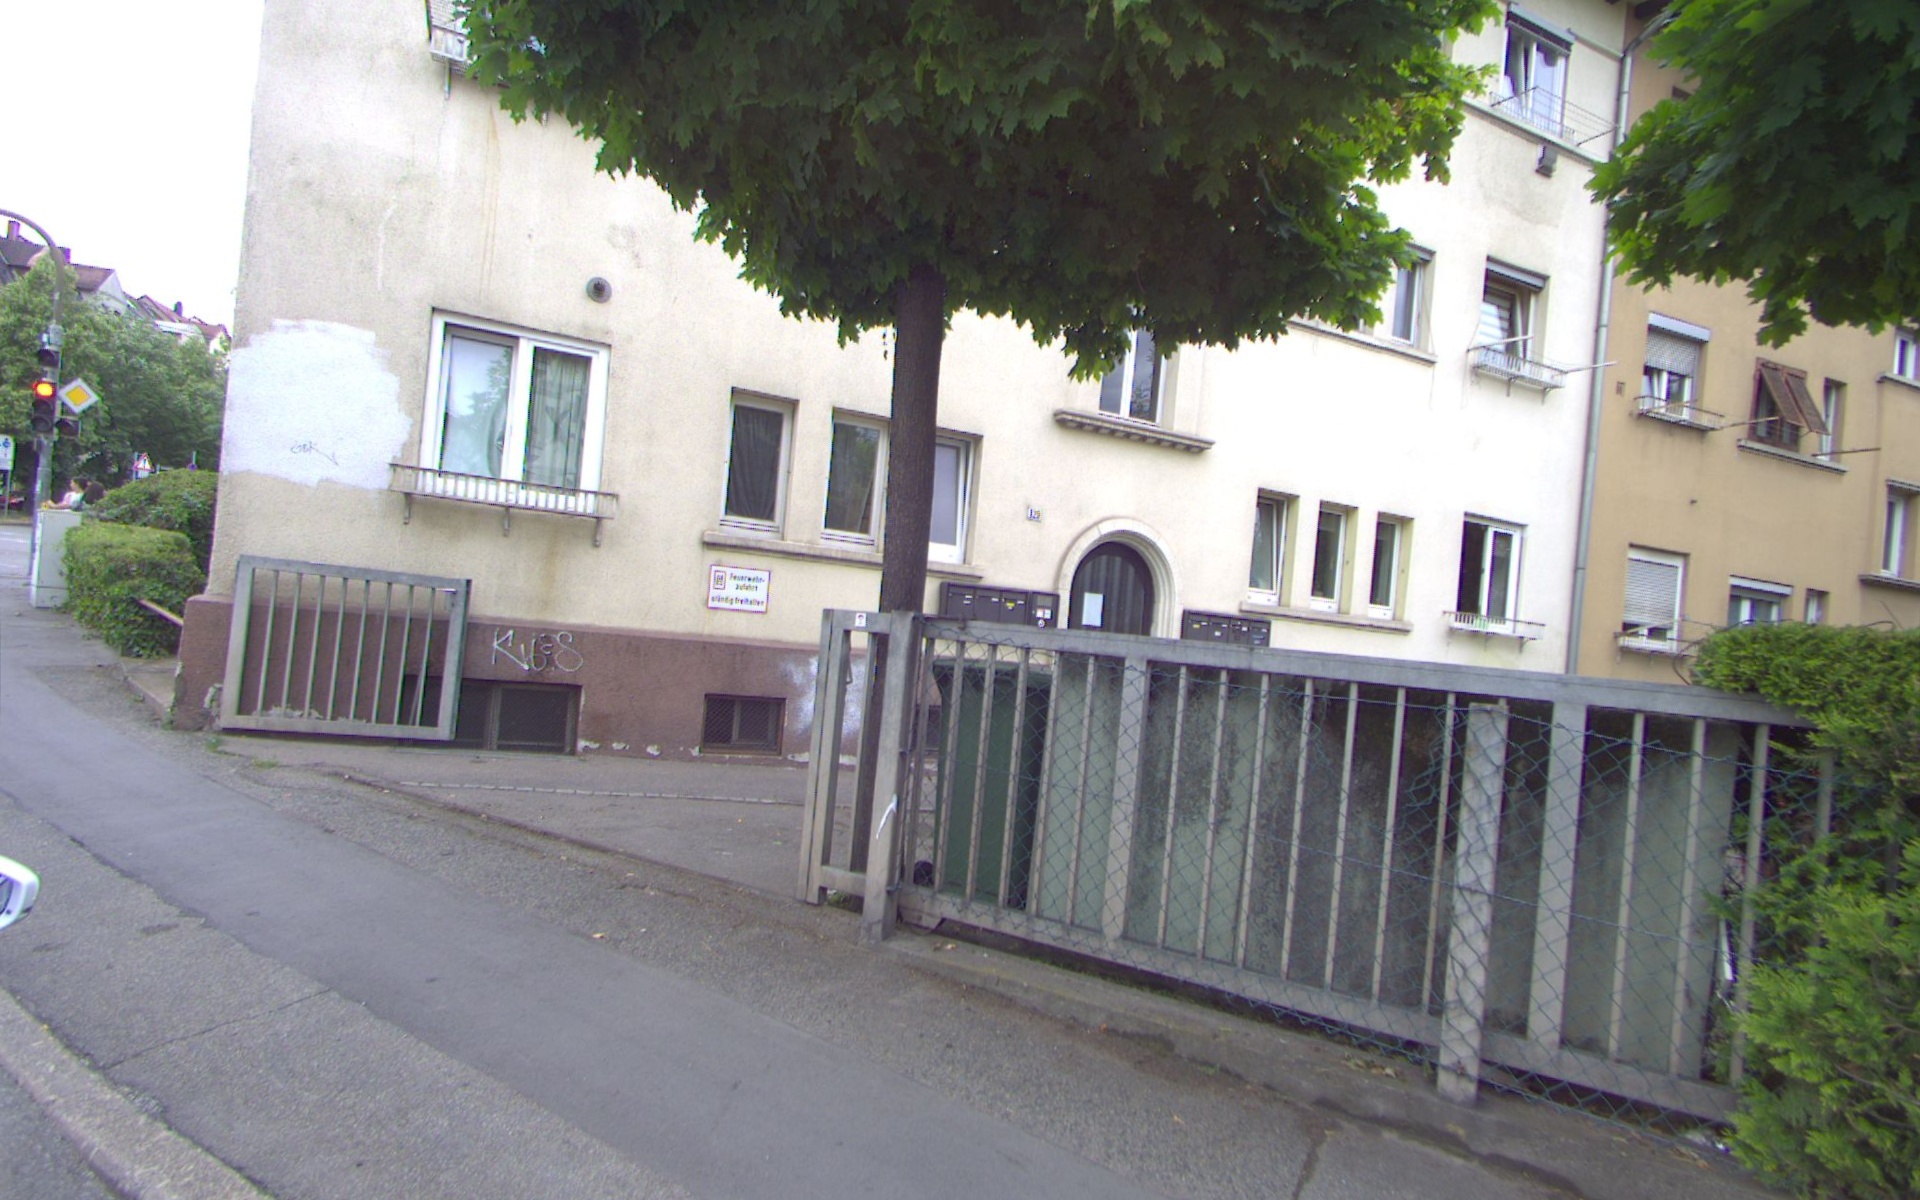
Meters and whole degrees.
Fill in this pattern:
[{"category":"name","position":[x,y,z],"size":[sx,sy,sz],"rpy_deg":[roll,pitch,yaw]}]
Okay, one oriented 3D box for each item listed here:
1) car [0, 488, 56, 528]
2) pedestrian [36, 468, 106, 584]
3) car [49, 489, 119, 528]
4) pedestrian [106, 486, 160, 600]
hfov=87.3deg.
[{"category":"car","position":[-60.954,-6.001,64.955],"size":[1.970,2.036,3.992],"rpy_deg":[8,-3,-15]},{"category":"pedestrian","position":[-14.892,-1.230,16.857],"size":[0.521,1.840,0.590],"rpy_deg":[6,-2,38]},{"category":"car","position":[-62.483,-6.477,71.865],"size":[1.970,2.036,3.992],"rpy_deg":[8,-3,-15]},{"category":"pedestrian","position":[-13.958,-0.959,16.984],"size":[0.462,1.857,0.320],"rpy_deg":[9,-2,-44]}]
